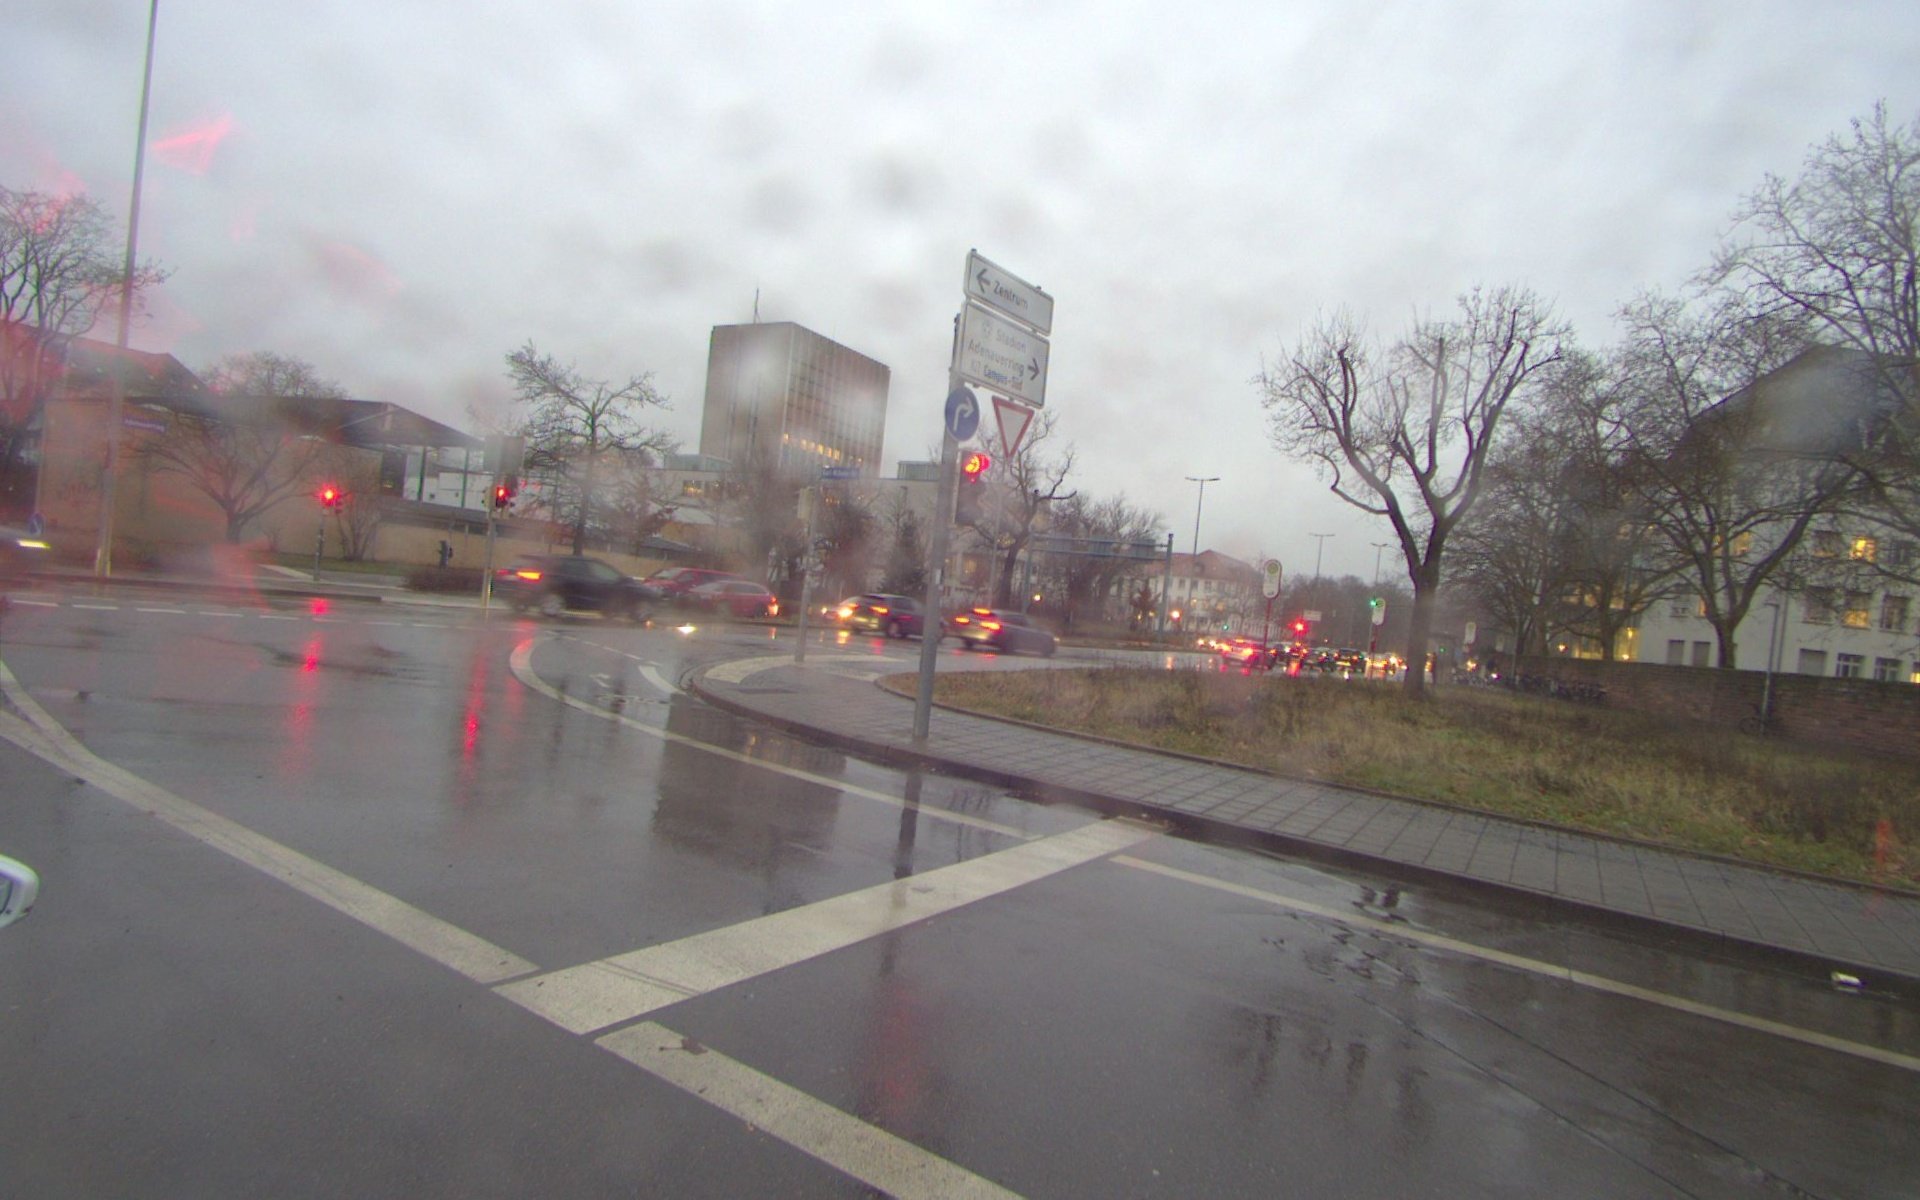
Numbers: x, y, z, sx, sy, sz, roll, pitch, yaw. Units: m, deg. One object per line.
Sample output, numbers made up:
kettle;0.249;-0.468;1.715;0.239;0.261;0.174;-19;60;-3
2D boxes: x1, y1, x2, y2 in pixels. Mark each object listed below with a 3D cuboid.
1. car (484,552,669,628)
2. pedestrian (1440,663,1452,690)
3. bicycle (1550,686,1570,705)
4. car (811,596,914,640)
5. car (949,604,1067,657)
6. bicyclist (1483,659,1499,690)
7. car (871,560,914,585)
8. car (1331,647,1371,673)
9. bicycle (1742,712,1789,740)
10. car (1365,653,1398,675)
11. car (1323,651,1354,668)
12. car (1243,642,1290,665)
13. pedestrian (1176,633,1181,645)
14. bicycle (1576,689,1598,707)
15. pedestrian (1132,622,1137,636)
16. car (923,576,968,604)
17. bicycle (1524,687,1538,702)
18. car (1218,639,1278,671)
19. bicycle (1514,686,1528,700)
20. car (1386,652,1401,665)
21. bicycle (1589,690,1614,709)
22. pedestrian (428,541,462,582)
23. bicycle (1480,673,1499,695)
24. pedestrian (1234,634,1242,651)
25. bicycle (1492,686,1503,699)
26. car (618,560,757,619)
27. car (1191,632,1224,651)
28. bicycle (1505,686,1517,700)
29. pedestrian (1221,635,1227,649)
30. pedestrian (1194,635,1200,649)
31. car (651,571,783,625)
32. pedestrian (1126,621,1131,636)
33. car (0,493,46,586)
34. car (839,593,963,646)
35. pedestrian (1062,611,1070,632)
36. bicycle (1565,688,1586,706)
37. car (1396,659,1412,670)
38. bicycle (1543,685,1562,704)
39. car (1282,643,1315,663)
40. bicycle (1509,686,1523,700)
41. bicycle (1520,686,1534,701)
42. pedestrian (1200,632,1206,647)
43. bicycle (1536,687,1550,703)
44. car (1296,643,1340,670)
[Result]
car;-9.630;-0.223;25.494;1.785;1.496;3.949;6;0;40
pedestrian;30.155;4.736;62.425;0.462;1.623;0.486;7;-1;25
bicycle;31.359;4.982;52.563;0.387;0.868;1.532;7;-2;15
car;-4.086;0.805;42.709;1.784;1.496;4.411;6;0;37
car;1.783;1.122;35.826;1.784;1.496;4.574;6;0;38
bicyclist;30.355;4.267;57.539;0.599;1.660;0.453;7;-1;19
car;-7.077;-2.908;106.503;2.014;2.102;4.892;6;0;30
car;30.564;4.678;78.617;1.812;1.710;4.311;6;-1;34
bicycle;28.204;4.401;35.233;0.387;0.834;1.386;7;-2;-4
car;36.284;5.513;86.582;1.811;1.710;4.311;6;0;32
car;32.851;5.165;87.196;1.674;1.318;3.757;6;0;33
car;21.996;3.840;72.025;1.908;1.318;4.686;6;0;33
pedestrian;25.229;4.447;116.079;0.258;1.364;0.289;8;2;31
bicycle;30.551;4.771;49.007;0.387;0.795;1.533;7;-2;14
pedestrian;17.213;2.880;99.000;0.258;1.364;0.289;8;2;31
car;-1.435;-0.994;103.348;2.014;2.452;5.326;6;0;30
bicycle;32.843;5.407;57.873;0.387;0.795;1.532;7;-2;19
car;16.554;3.166;57.716;1.907;1.571;4.687;6;0;33
bicycle;33.832;5.617;60.670;0.387;0.795;1.532;7;-2;20
car;69.577;9.365;161.467;1.834;1.783;3.993;7;1;27
bicycle;30.277;4.675;47.483;0.352;0.795;1.415;7;-2;8
pedestrian;-22.201;-1.653;43.353;0.783;1.624;0.960;8;2;39
bicycle;30.296;4.813;57.570;0.599;1.181;1.682;7;-2;19
pedestrian;35.366;5.388;128.106;0.567;2.040;0.592;8;3;37
bicycle;36.394;6.250;68.114;0.387;0.795;1.532;7;-2;20
car;-11.077;-0.370;41.299;2.016;1.903;5.320;6;0;35
car;24.383;4.113;98.977;1.811;1.602;4.127;6;0;31
bicycle;34.853;5.869;63.633;0.387;0.795;1.532;7;-2;20
pedestrian;32.975;5.258;125.674;0.404;1.713;0.561;7;2;28
pedestrian;28.441;5.052;120.744;0.404;1.713;0.427;7;2;28
car;-8.678;-0.034;36.261;1.784;1.496;4.411;6;0;37
pedestrian;16.645;2.814;99.233;0.258;1.364;0.289;8;2;31
car;-17.685;-1.206;15.868;1.786;1.496;4.647;6;0;42
car;-1.994;0.723;35.368;1.783;1.496;4.576;6;0;36
pedestrian;9.406;1.907;89.204;0.411;1.725;0.430;8;3;44
bicycle;31.041;4.878;50.751;0.343;0.848;1.493;7;-2;13
car;63.994;9.217;144.974;1.620;1.346;3.671;7;1;31
bicycle;31.844;5.077;54.094;0.387;0.927;1.532;7;-2;15
car;29.996;4.708;89.072;1.811;1.602;4.127;6;0;31
bicycle;34.353;5.745;62.159;0.387;0.795;1.532;7;-2;20
bicycle;33.326;5.490;59.152;0.387;0.795;1.532;7;-2;20
pedestrian;27.854;4.506;115.484;0.404;1.713;0.427;7;2;28
bicycle;32.416;5.293;55.960;0.387;0.795;1.607;7;-2;22
car;25.602;4.053;71.876;1.812;1.602;4.124;6;0;35
